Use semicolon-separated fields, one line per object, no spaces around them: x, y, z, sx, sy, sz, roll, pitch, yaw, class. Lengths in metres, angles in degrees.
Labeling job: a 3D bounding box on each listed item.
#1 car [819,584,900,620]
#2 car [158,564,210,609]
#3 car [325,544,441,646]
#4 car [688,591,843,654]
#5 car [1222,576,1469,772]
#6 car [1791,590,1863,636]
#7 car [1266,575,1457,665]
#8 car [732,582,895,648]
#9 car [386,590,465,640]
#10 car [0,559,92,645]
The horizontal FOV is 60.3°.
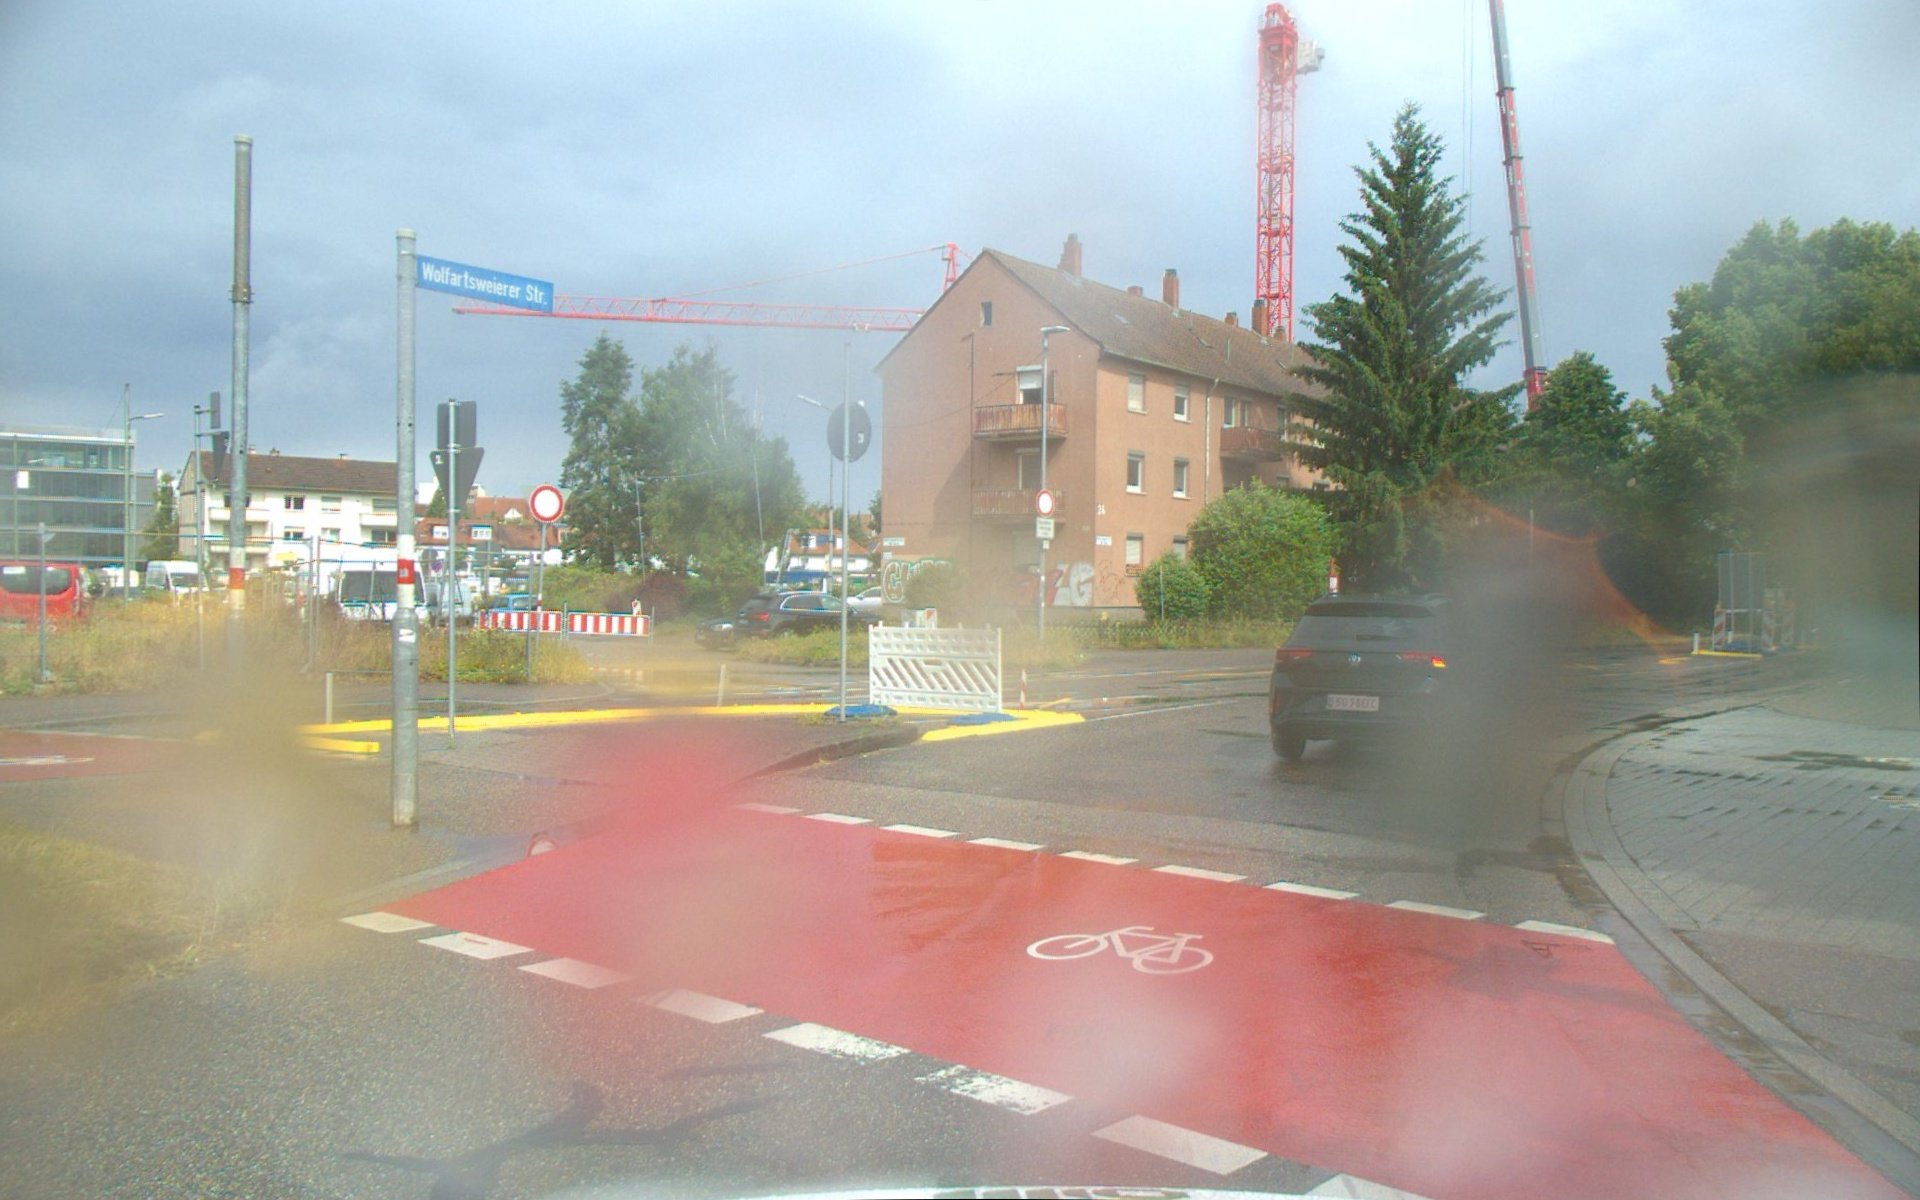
-4.458;0.099;73.767;3.437;1.545;1.617;1;0;1;car
-40.287;-0.729;85.947;2.342;2.121;4.933;1;2;-25;car
-13.802;-0.191;39.336;2.010;2.121;6.218;1;2;-25;car
-5.389;0.618;45.812;3.989;1.661;1.606;1;0;-22;car
3.941;0.631;16.421;1.858;1.646;4.000;2;1;21;car
36.608;0.520;69.782;2.040;1.762;4.681;3;2;36;car
8.834;0.387;36.142;2.046;1.762;4.669;4;3;42;car
-3.841;0.399;43.450;3.989;1.661;1.606;1;0;-22;car
-24.140;0.659;74.688;1.983;2.161;3.939;1;0;-42;car
-20.691;0.011;37.229;1.903;1.729;3.961;1;2;-30;car
